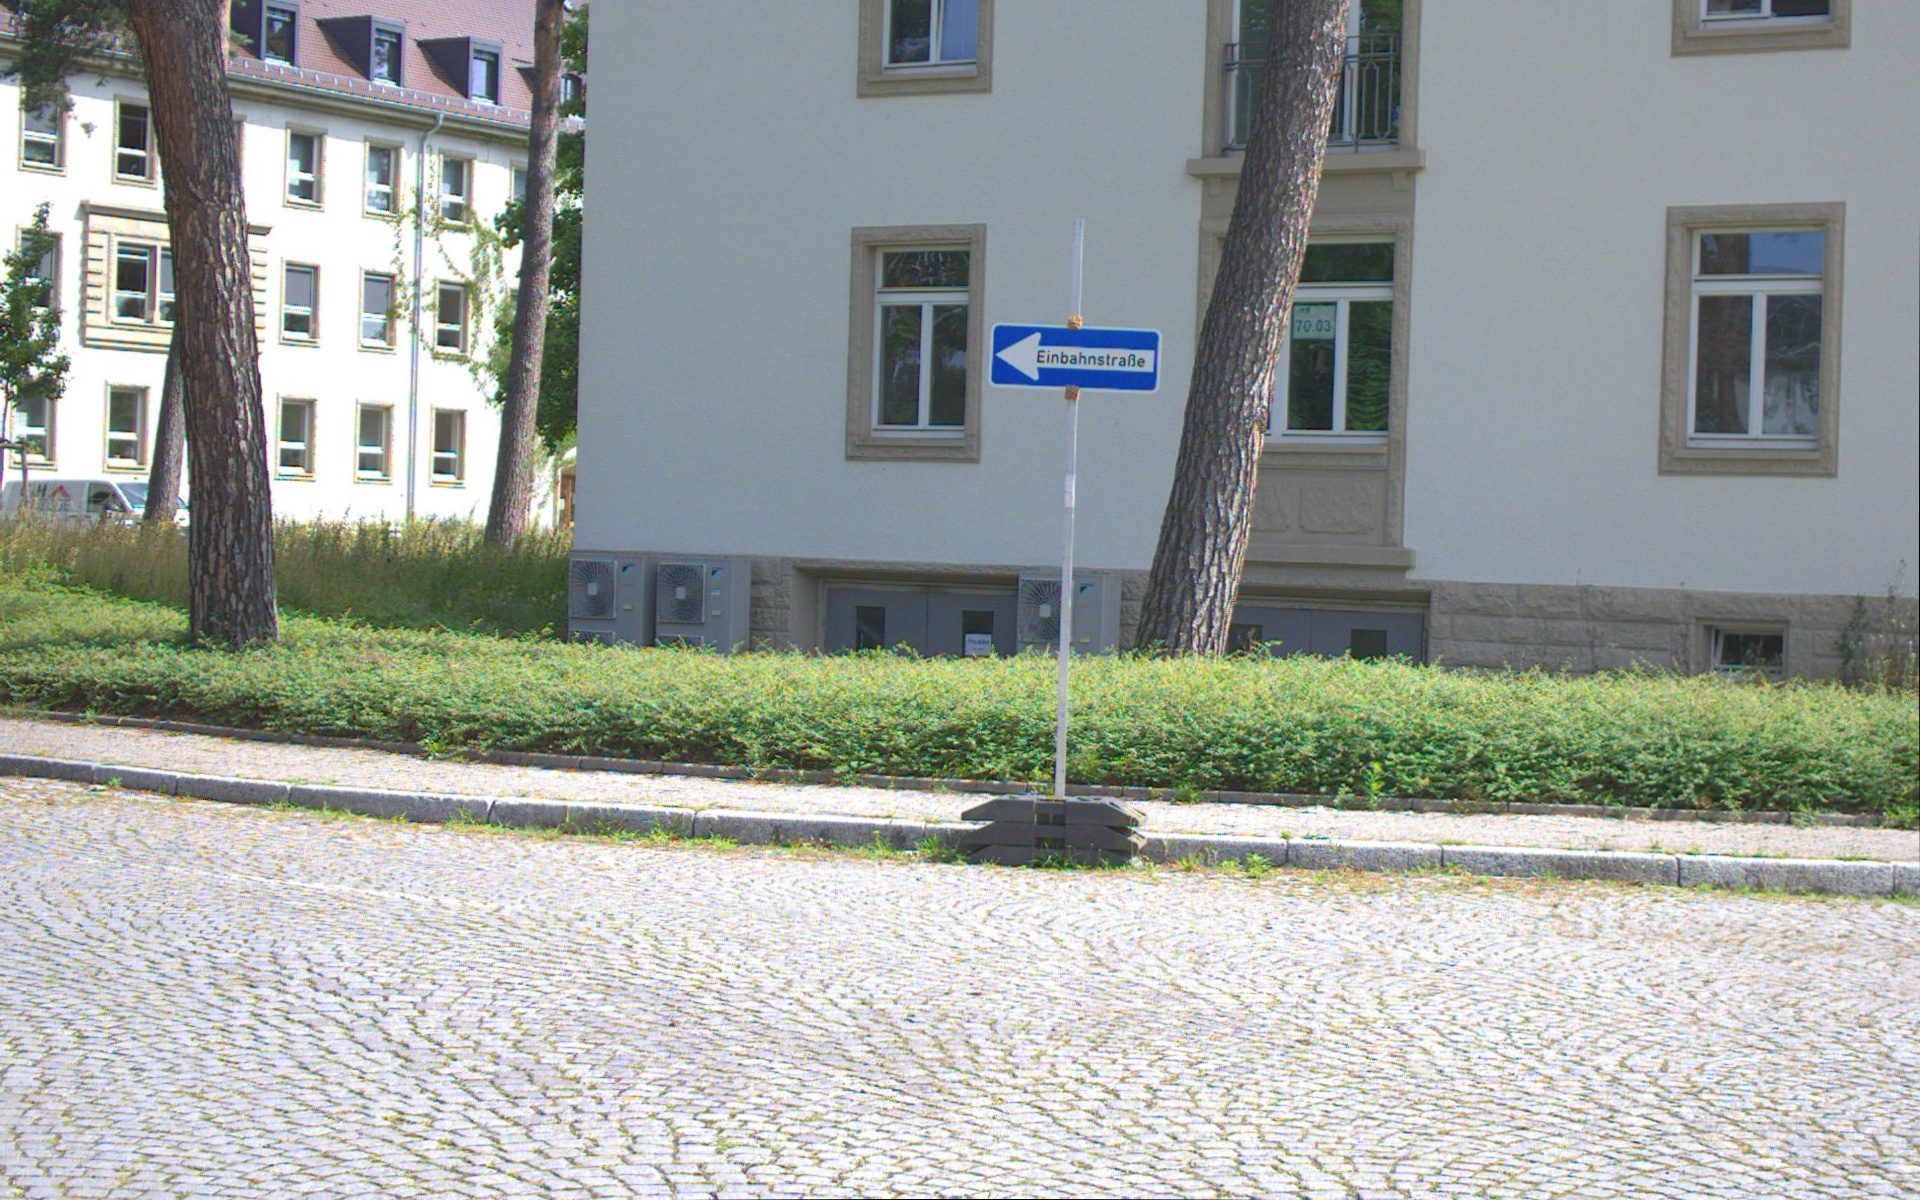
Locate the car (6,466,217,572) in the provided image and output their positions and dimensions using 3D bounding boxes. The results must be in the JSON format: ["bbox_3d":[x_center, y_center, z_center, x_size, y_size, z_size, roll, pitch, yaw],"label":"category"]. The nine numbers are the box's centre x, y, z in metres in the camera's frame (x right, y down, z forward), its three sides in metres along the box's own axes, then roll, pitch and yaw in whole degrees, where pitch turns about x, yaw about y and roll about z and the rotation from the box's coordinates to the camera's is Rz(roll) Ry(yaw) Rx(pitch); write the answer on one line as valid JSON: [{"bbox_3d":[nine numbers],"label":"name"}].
[{"bbox_3d":[-16.791,-1.612,67.959,4.067,1.985,1.710,2,1,33],"label":"car"}]

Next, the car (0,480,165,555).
[{"bbox_3d":[-16.760,-1.565,65.084,3.290,1.339,1.422,2,1,33],"label":"car"}]
